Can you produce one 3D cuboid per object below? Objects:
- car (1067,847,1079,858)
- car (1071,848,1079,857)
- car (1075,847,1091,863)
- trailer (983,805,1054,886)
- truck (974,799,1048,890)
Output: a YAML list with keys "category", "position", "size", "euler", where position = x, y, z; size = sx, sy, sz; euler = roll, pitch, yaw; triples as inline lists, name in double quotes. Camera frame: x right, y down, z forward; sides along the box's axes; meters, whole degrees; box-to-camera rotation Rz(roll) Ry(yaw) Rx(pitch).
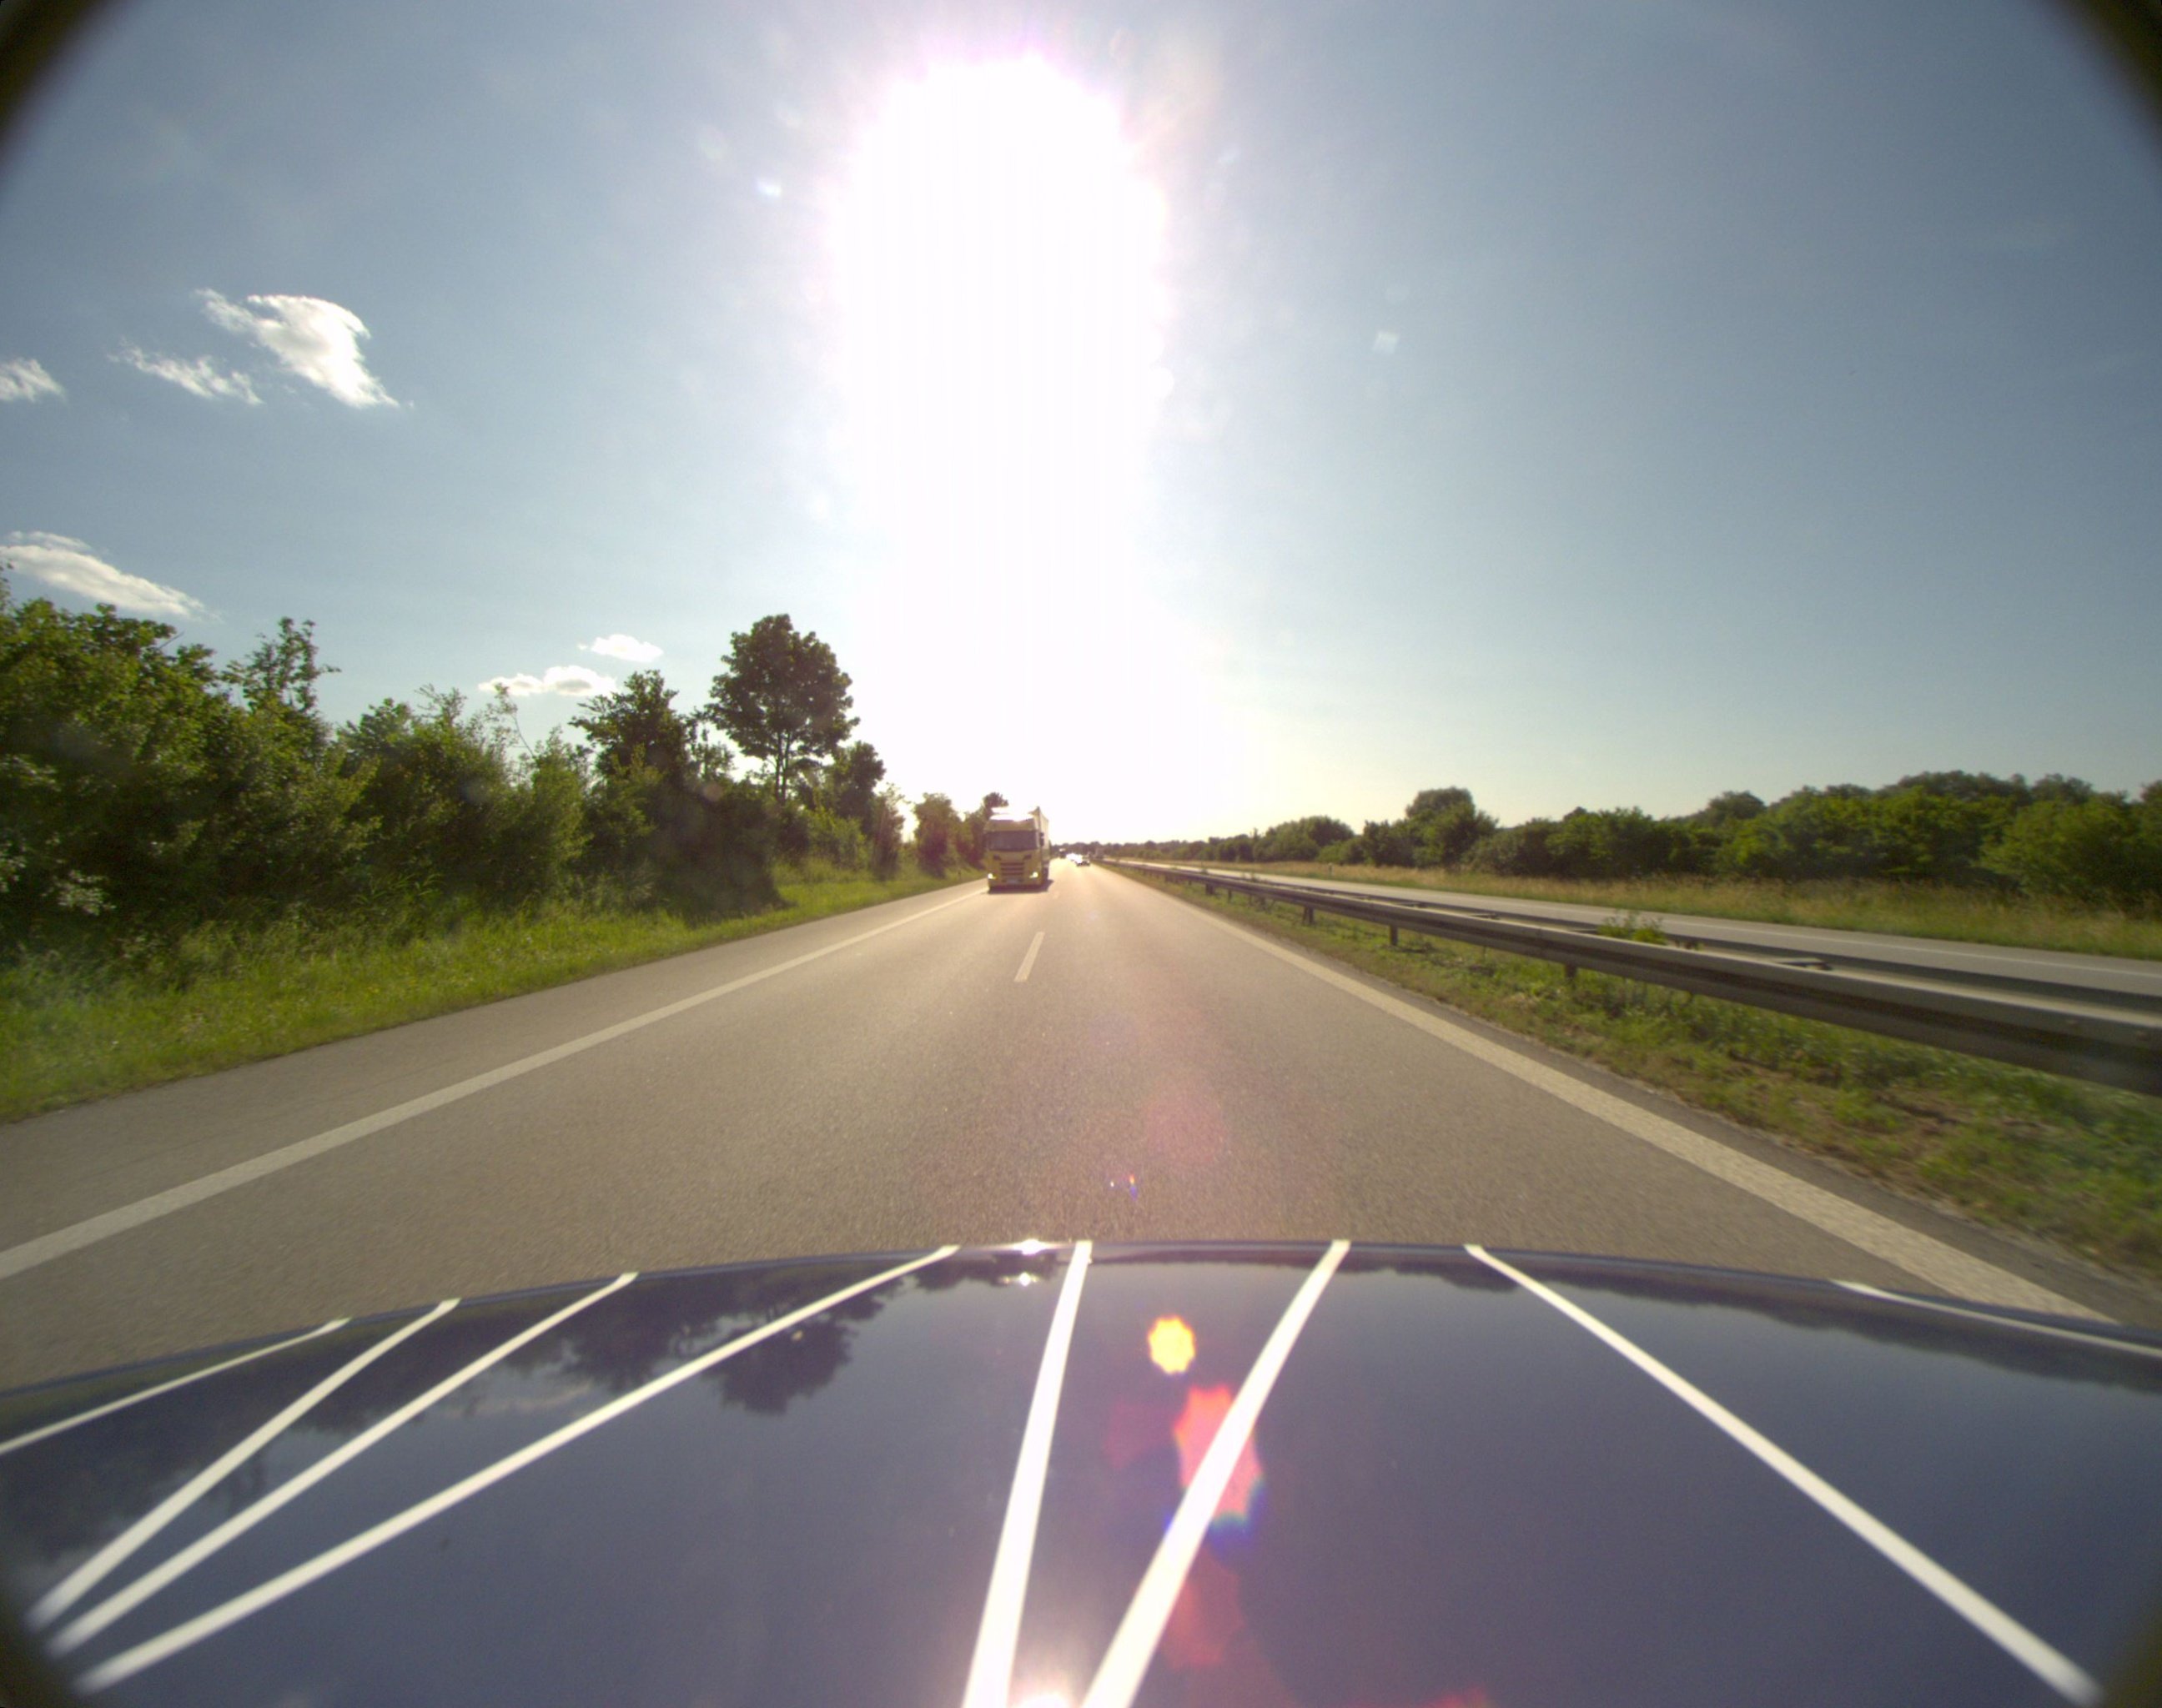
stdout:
- category: "car"
  position: [-1.490, -0.296, 141.878]
  size: [1.998, 2.002, 4.000]
  euler: [-2, 1, 1]
- category: "car"
  position: [-1.435, -0.401, 183.804]
  size: [1.998, 2.002, 4.000]
  euler: [-2, 1, 1]
- category: "car"
  position: [0.201, 0.101, 103.050]
  size: [1.999, 2.002, 4.357]
  euler: [-2, 1, -1]
- category: "trailer"
  position: [-3.443, -0.479, 45.653]
  size: [3.193, 4.036, 13.183]
  euler: [-2, 1, -1]
- category: "truck"
  position: [-3.375, -0.470, 38.409]
  size: [3.177, 4.090, 6.386]
  euler: [-2, 1, -2]
